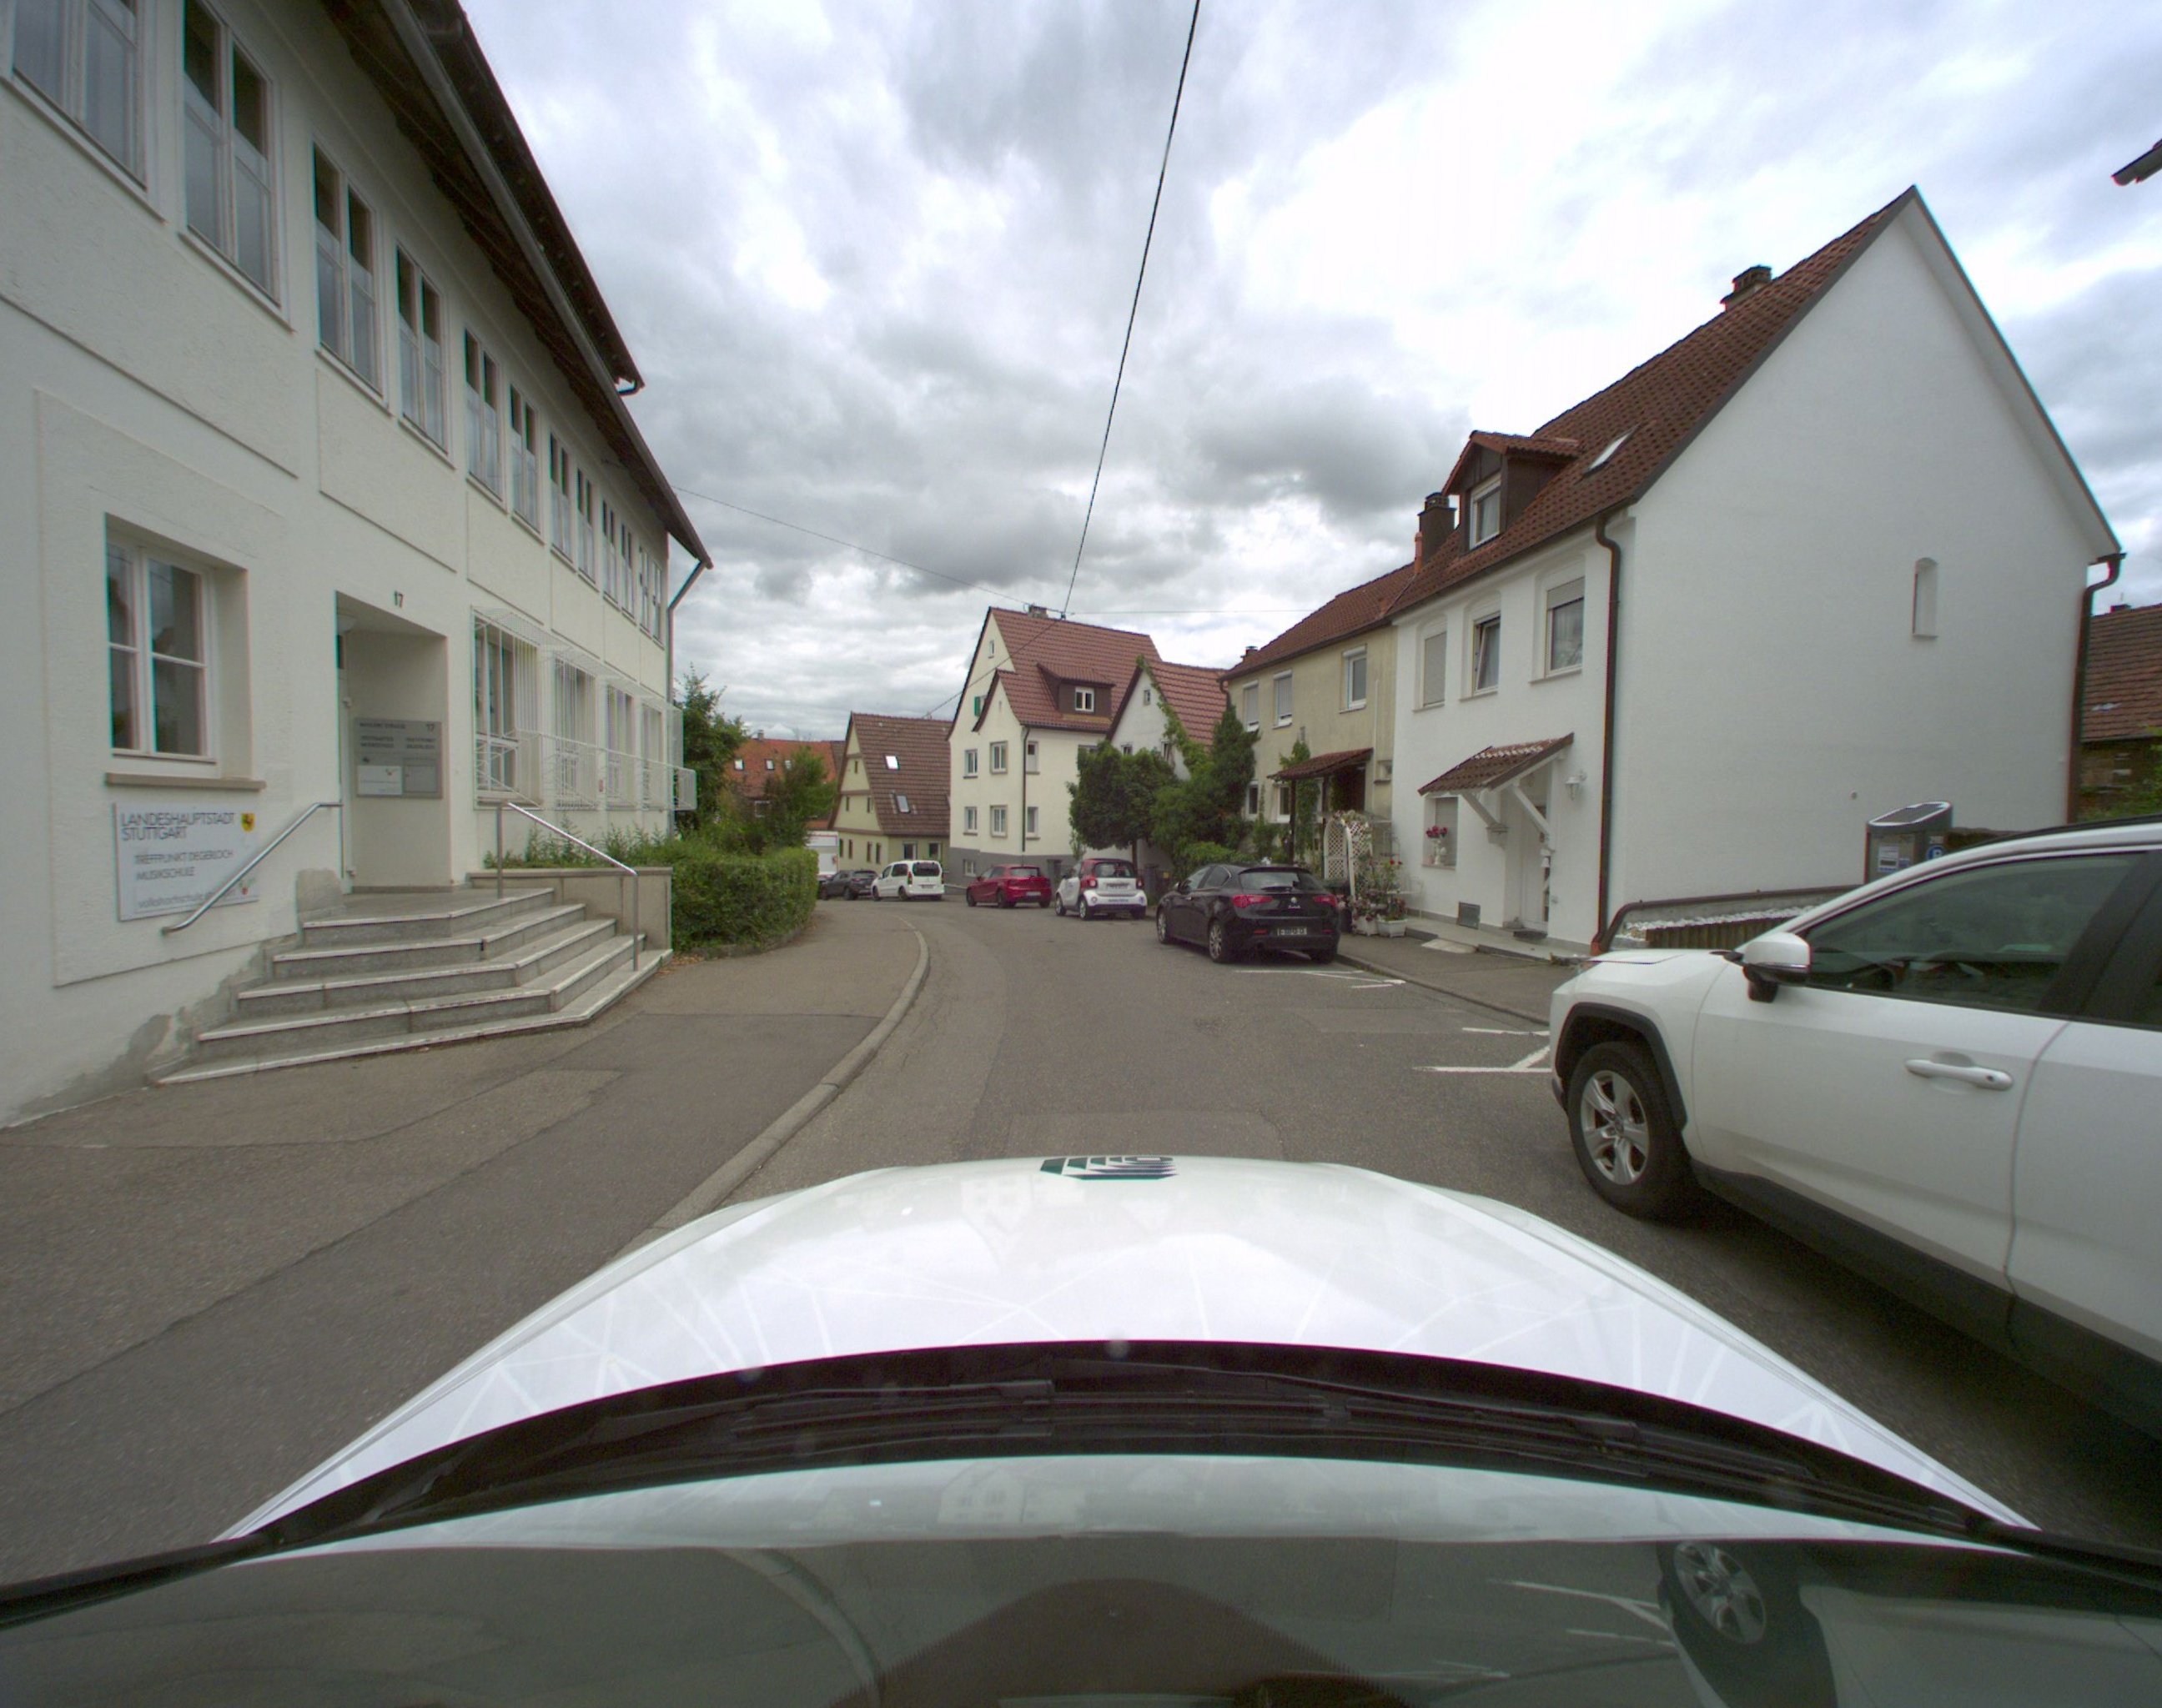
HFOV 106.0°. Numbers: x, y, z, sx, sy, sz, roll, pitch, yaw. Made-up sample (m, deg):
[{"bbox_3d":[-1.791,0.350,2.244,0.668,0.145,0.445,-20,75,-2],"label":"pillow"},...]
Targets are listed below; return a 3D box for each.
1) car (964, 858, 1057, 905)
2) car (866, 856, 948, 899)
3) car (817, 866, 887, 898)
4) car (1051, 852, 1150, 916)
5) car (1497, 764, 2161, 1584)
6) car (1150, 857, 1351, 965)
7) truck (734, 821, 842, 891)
[{"bbox_3d":[-2.458,0.920,27.546,1.689,1.452,3.814,0,-2,-30],"label":"car"},{"bbox_3d":[-7.771,1.034,36.120,1.850,1.814,4.254,0,-2,-38],"label":"car"},{"bbox_3d":[-11.362,1.392,40.202,1.748,1.506,4.002,1,-3,-42],"label":"car"},{"bbox_3d":[0.442,0.778,21.354,1.617,1.532,2.877,2,-2,-21],"label":"car"},{"bbox_3d":[3.166,0.653,2.138,1.939,1.639,4.463,2,1,2],"label":"car"},{"bbox_3d":[2.483,0.775,12.977,1.719,1.407,3.987,1,0,-11],"label":"car"},{"bbox_3d":[-16.547,0.219,45.649,2.700,3.597,8.006,-1,-1,-43],"label":"truck"}]
